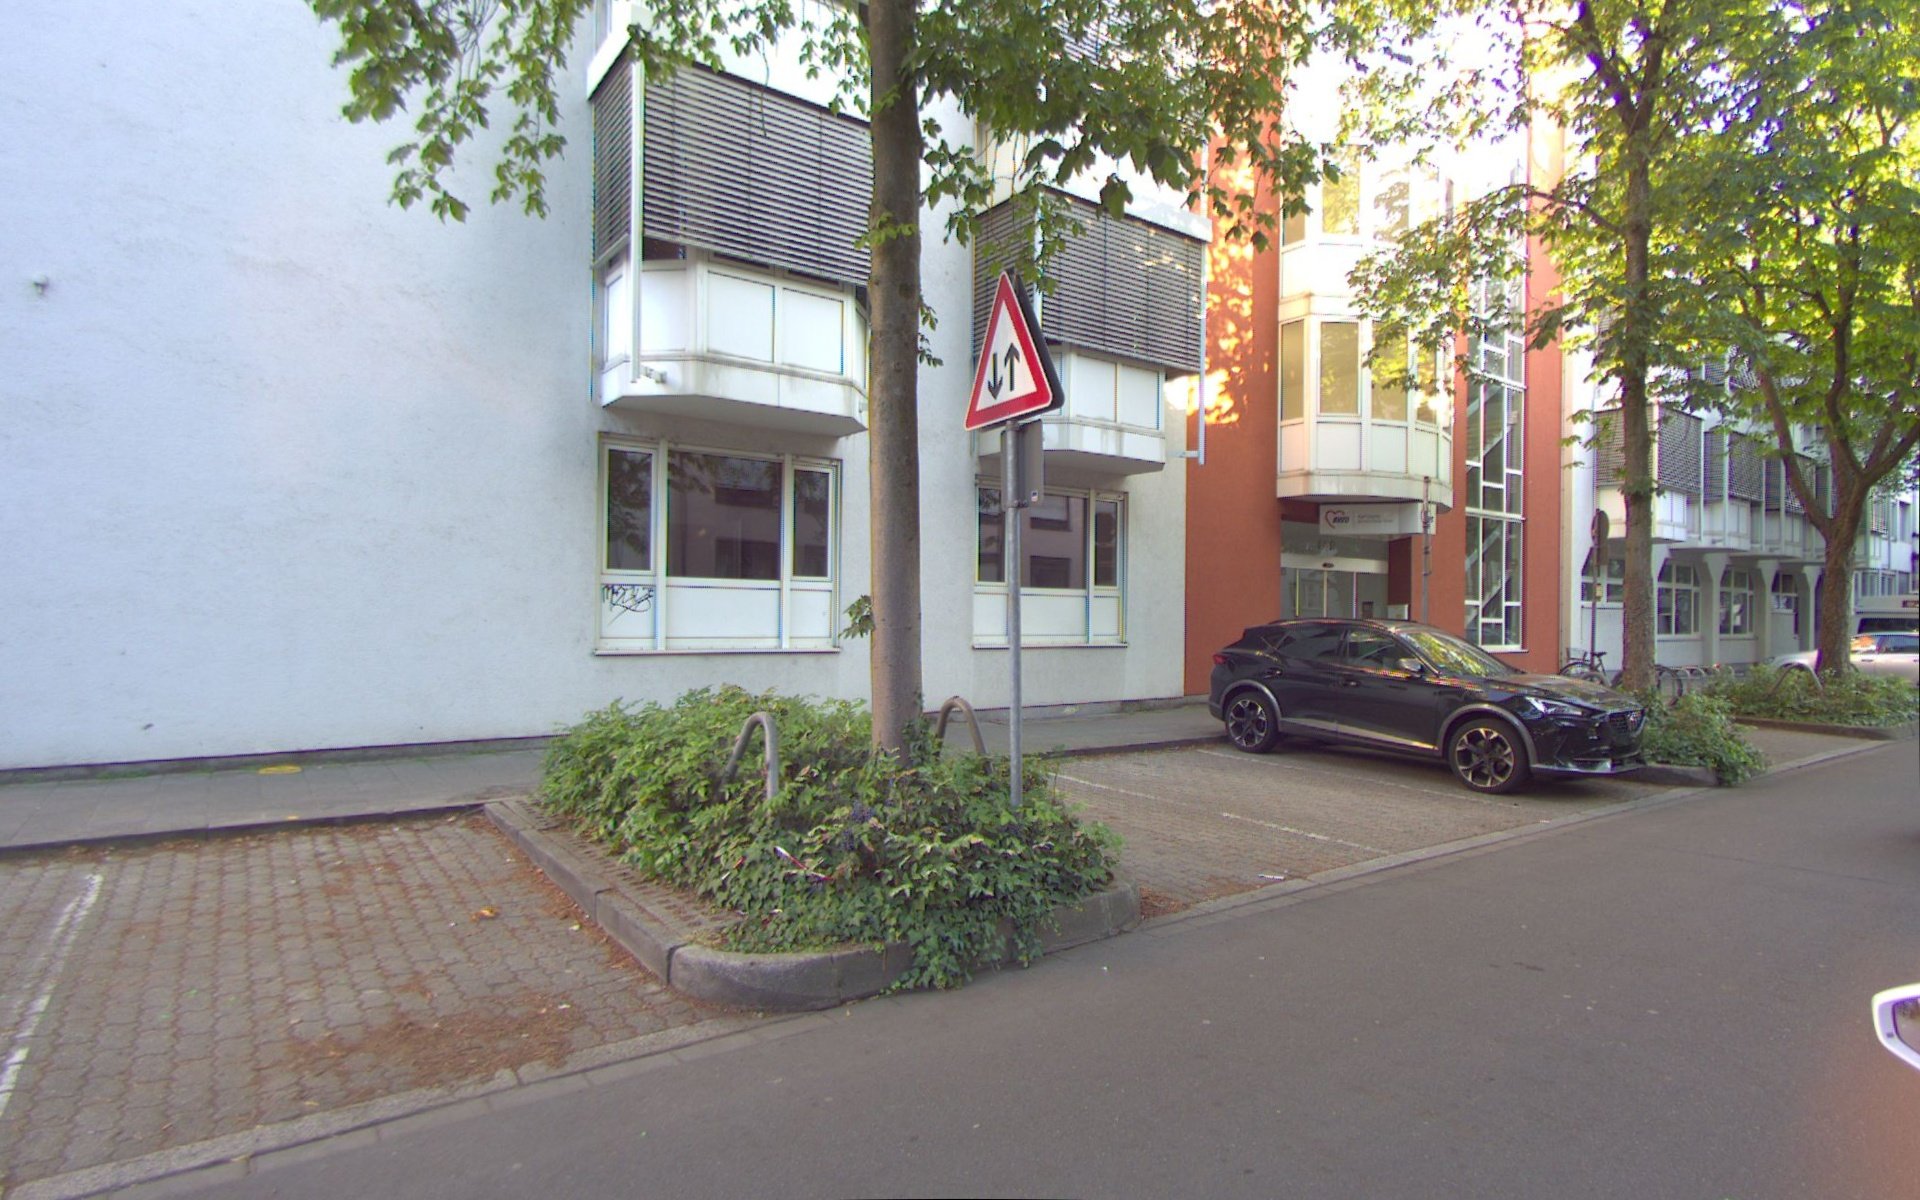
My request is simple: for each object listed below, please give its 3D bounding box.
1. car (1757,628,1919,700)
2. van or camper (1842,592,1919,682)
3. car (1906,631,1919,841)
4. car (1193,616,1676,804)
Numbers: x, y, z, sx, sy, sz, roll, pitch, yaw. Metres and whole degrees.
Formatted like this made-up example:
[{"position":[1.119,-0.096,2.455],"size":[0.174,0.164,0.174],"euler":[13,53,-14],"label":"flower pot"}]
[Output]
[{"position":[21.161,1.450,23.236],"size":[1.767,1.537,3.942],"euler":[1,-1,-35],"label":"car"},{"position":[27.902,1.040,28.037],"size":[1.981,2.511,4.632],"euler":[1,-1,-36],"label":"van or camper"},{"position":[8.412,0.962,5.296],"size":[1.772,1.499,4.742],"euler":[1,-1,-18],"label":"car"},{"position":[4.716,0.959,10.610],"size":[1.768,1.537,4.325],"euler":[1,-1,-35],"label":"car"}]
